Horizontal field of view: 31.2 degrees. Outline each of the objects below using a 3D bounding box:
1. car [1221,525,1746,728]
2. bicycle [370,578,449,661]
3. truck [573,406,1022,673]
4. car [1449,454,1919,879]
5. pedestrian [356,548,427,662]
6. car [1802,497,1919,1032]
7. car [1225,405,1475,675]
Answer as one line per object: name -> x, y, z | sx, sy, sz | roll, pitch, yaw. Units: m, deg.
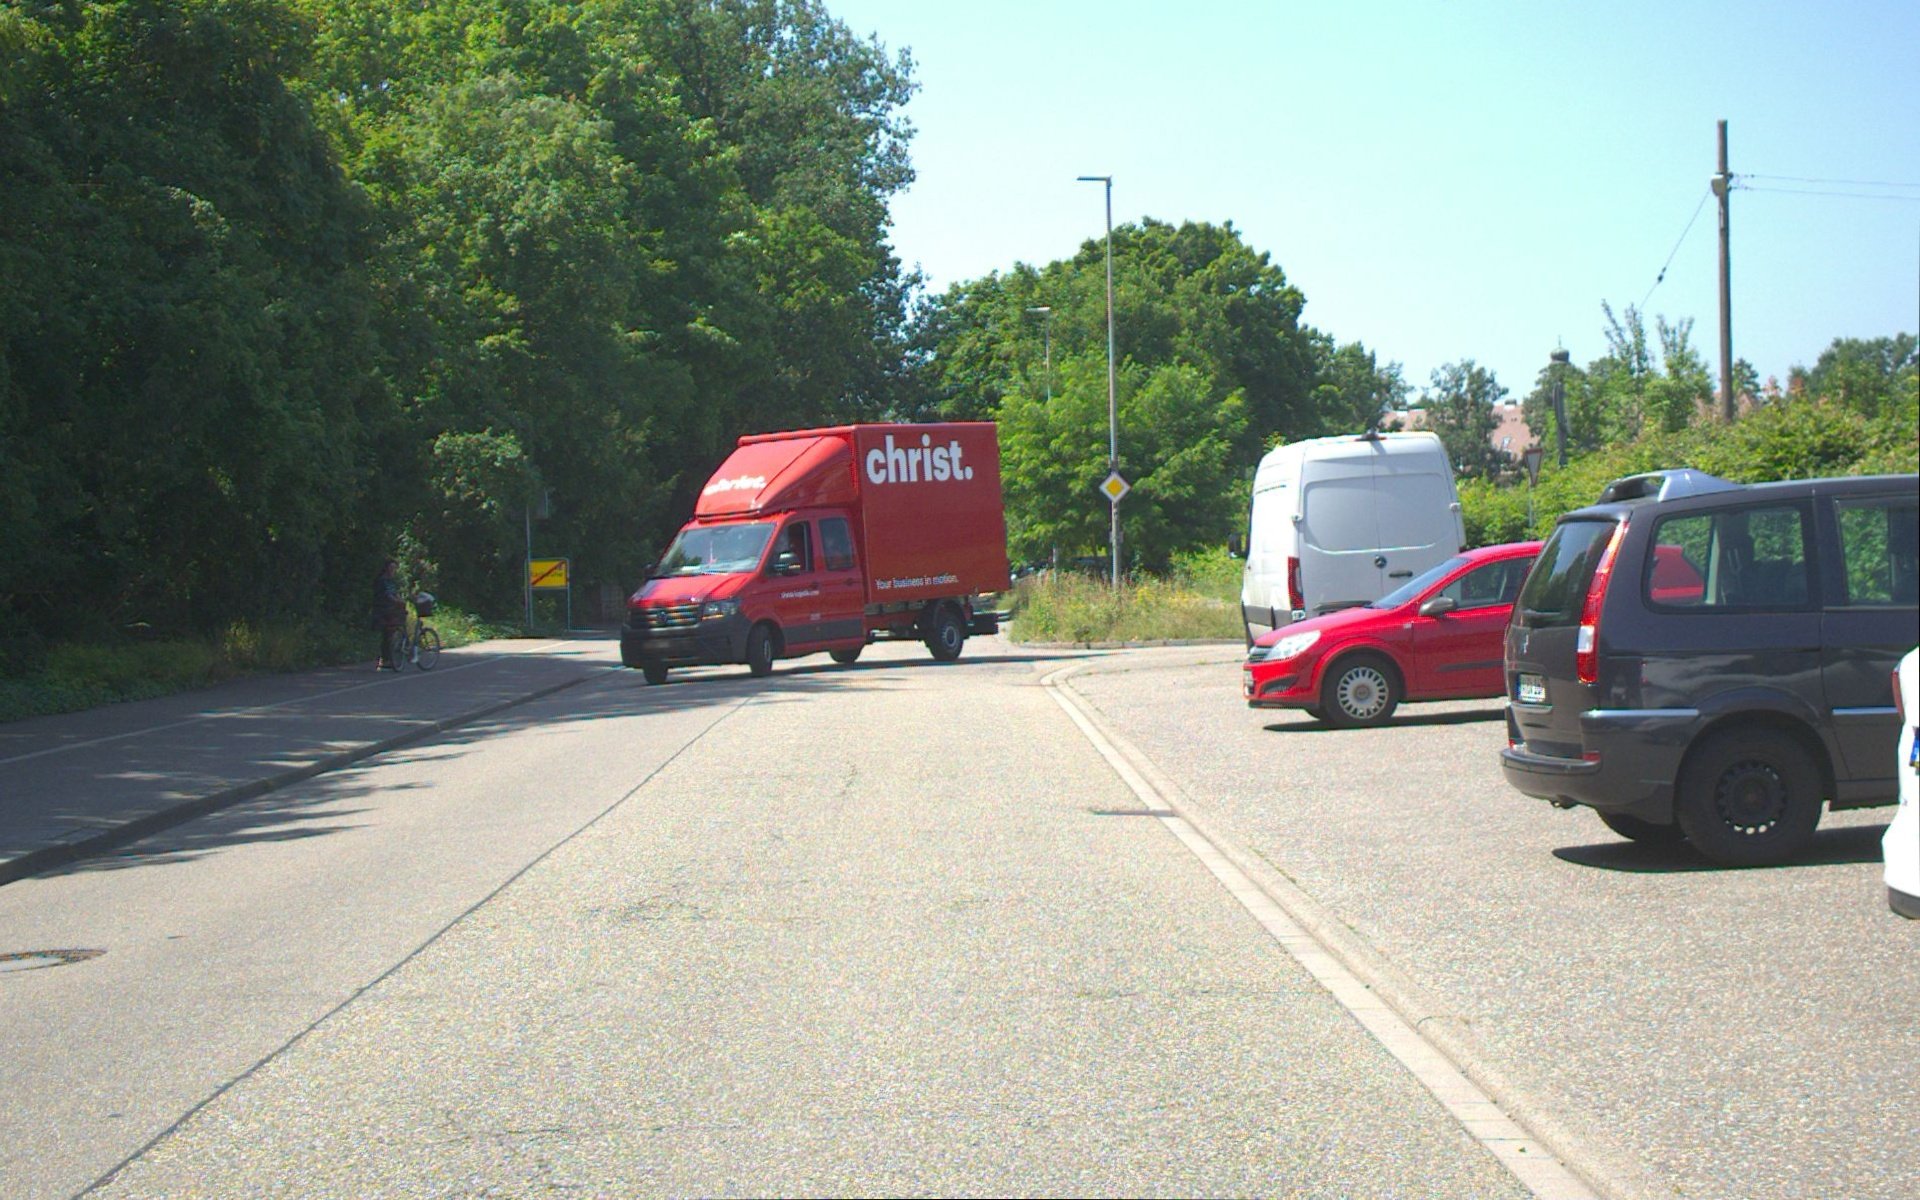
car -> 4.407, 0.204, 29.331 | 4.053, 1.429, 1.836 | -4, 1, -3
bicycle -> -8.370, 0.282, 52.313 | 0.521, 1.232, 1.960 | 0, 0, 12
truck -> -2.142, -0.939, 48.507 | 2.327, 3.428, 7.147 | -1, 2, 35
car -> 4.806, 0.207, 16.489 | 4.452, 1.798, 1.953 | -4, 0, -5
pedestrian -> -8.669, 0.072, 52.429 | 0.809, 1.712, 0.776 | 0, 1, 15
car -> 4.922, 0.360, 10.256 | 4.275, 1.572, 1.766 | -4, 1, -2
car -> 4.390, -0.704, 39.811 | 1.954, 2.724, 7.167 | -3, 1, 0
